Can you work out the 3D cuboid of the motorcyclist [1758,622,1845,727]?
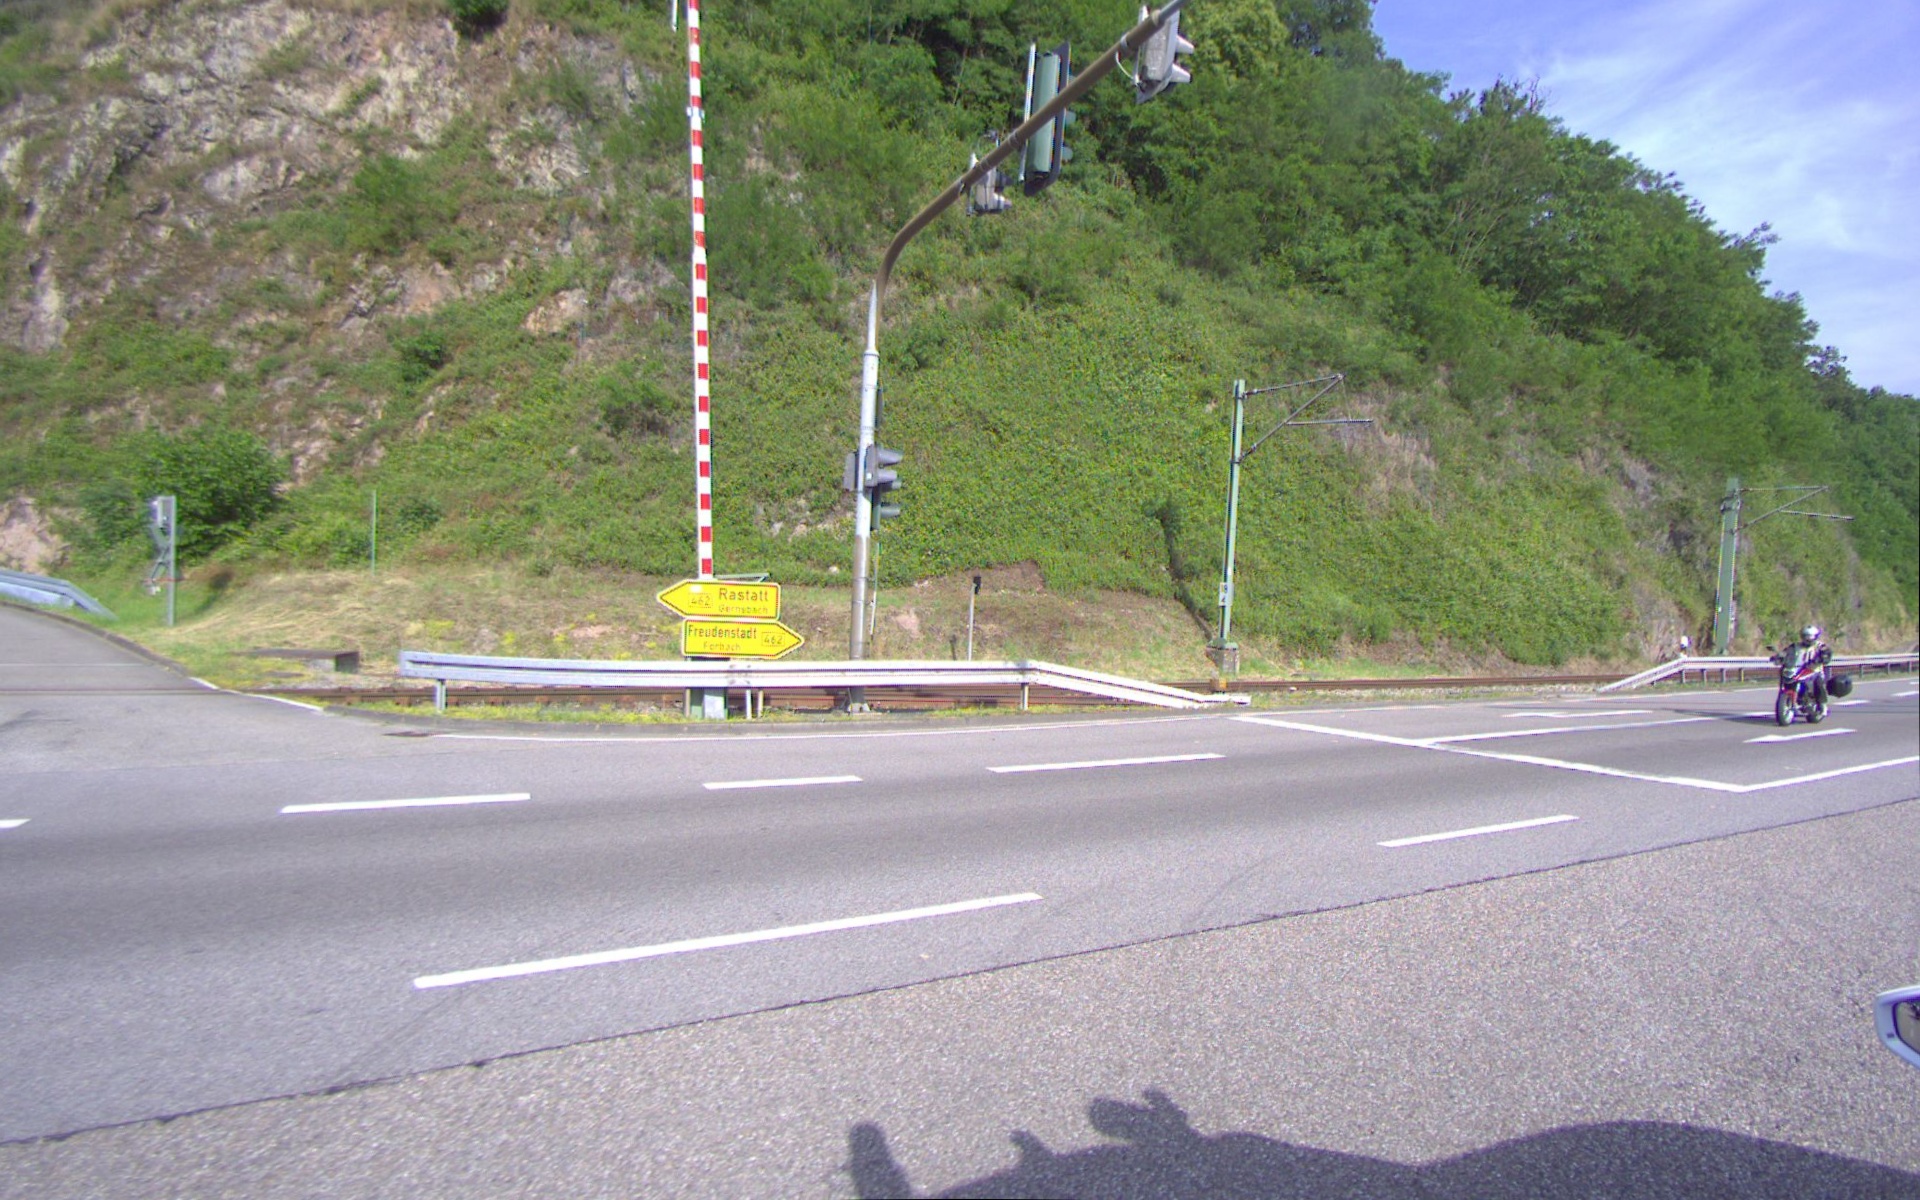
[{"bbox_3d":[14.765,1.287,17.636,0.858,1.738,0.998,2,0,-40],"label":"motorcyclist"}]

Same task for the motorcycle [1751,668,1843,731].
[{"bbox_3d":[14.726,1.722,17.649,2.199,0.967,0.817,2,0,-39],"label":"motorcycle"}]
